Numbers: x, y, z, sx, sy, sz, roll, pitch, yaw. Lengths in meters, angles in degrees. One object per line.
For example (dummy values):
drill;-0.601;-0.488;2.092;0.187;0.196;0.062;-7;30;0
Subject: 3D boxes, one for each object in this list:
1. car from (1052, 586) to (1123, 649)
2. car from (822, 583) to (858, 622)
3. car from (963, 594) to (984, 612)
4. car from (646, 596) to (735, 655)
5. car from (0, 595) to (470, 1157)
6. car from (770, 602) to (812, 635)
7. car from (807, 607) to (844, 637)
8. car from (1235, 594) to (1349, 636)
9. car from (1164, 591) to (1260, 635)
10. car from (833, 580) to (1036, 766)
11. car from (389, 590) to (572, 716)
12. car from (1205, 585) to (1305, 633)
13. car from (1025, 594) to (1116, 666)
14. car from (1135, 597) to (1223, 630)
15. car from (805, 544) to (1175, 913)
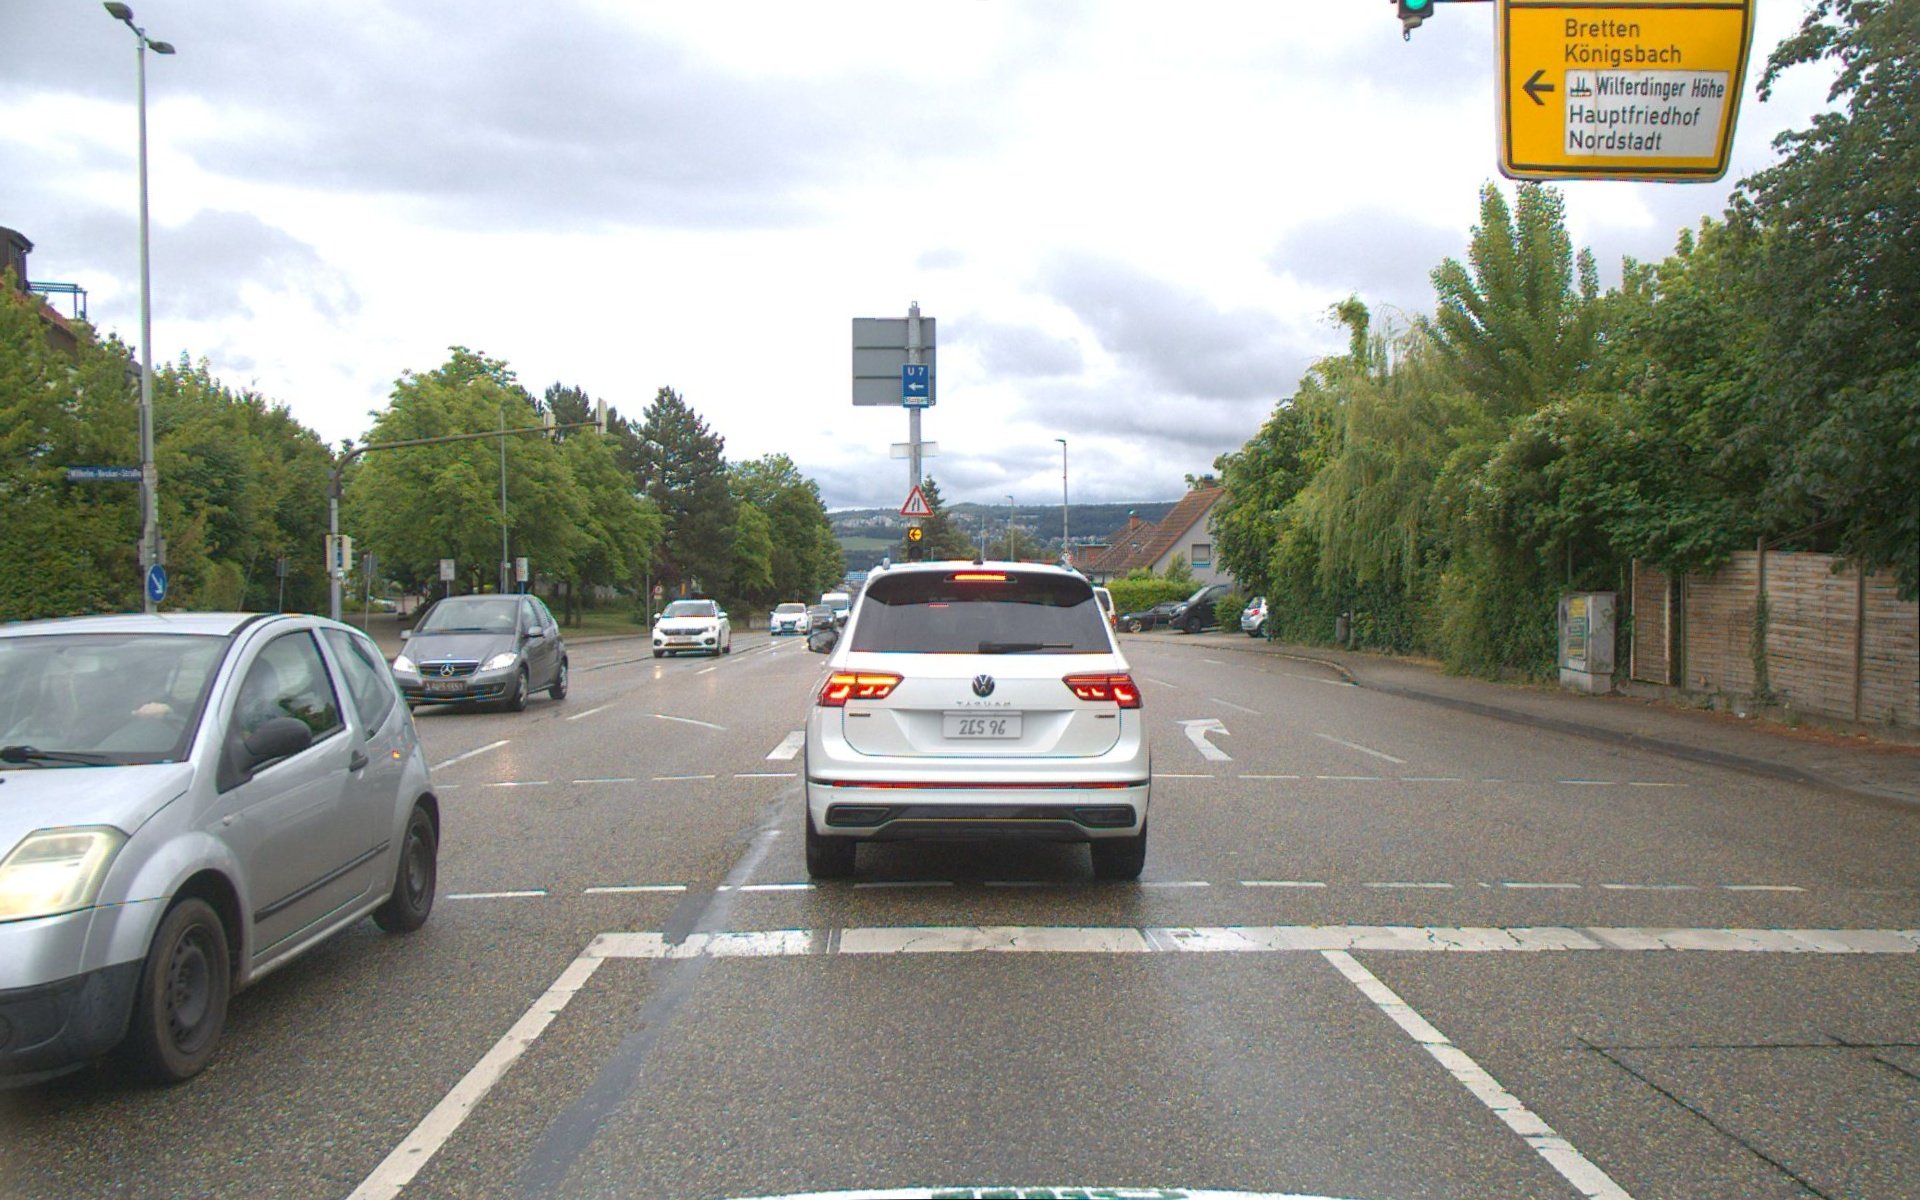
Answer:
car;3.727;0.479;48.860;1.677;1.789;3.800;0;0;-2
car;-8.132;0.167;112.564;2.251;2.572;5.770;0;0;-3
car;1.239;0.240;148.735;1.813;1.602;4.000;-1;0;0
car;-7.280;0.653;45.071;1.928;1.480;4.306;2;0;-4
car;-3.153;0.758;6.185;1.606;1.485;3.518;-2;0;-1
car;-7.798;0.843;76.659;1.711;1.421;3.800;0;0;-2
car;-7.446;1.216;91.935;1.740;1.528;4.470;-2;0;-2
car;11.946;0.552;59.560;3.644;1.420;1.725;-1;-1;-8
car;10.243;0.522;67.330;3.556;1.654;1.790;1;1;-5
car;-0.228;0.626;16.399;1.762;1.617;3.926;0;0;0
car;-6.708;0.683;23.463;1.665;1.627;3.548;-1;0;-2
car;11.566;0.340;64.975;3.556;1.776;1.707;0;3;-4
car;2.404;0.633;36.712;1.646;1.485;3.800;1;0;-2
car;9.522;0.607;72.157;3.613;1.394;1.518;0;-2;-2
car;0.090;0.589;9.915;1.727;1.725;4.271;1;0;-2
